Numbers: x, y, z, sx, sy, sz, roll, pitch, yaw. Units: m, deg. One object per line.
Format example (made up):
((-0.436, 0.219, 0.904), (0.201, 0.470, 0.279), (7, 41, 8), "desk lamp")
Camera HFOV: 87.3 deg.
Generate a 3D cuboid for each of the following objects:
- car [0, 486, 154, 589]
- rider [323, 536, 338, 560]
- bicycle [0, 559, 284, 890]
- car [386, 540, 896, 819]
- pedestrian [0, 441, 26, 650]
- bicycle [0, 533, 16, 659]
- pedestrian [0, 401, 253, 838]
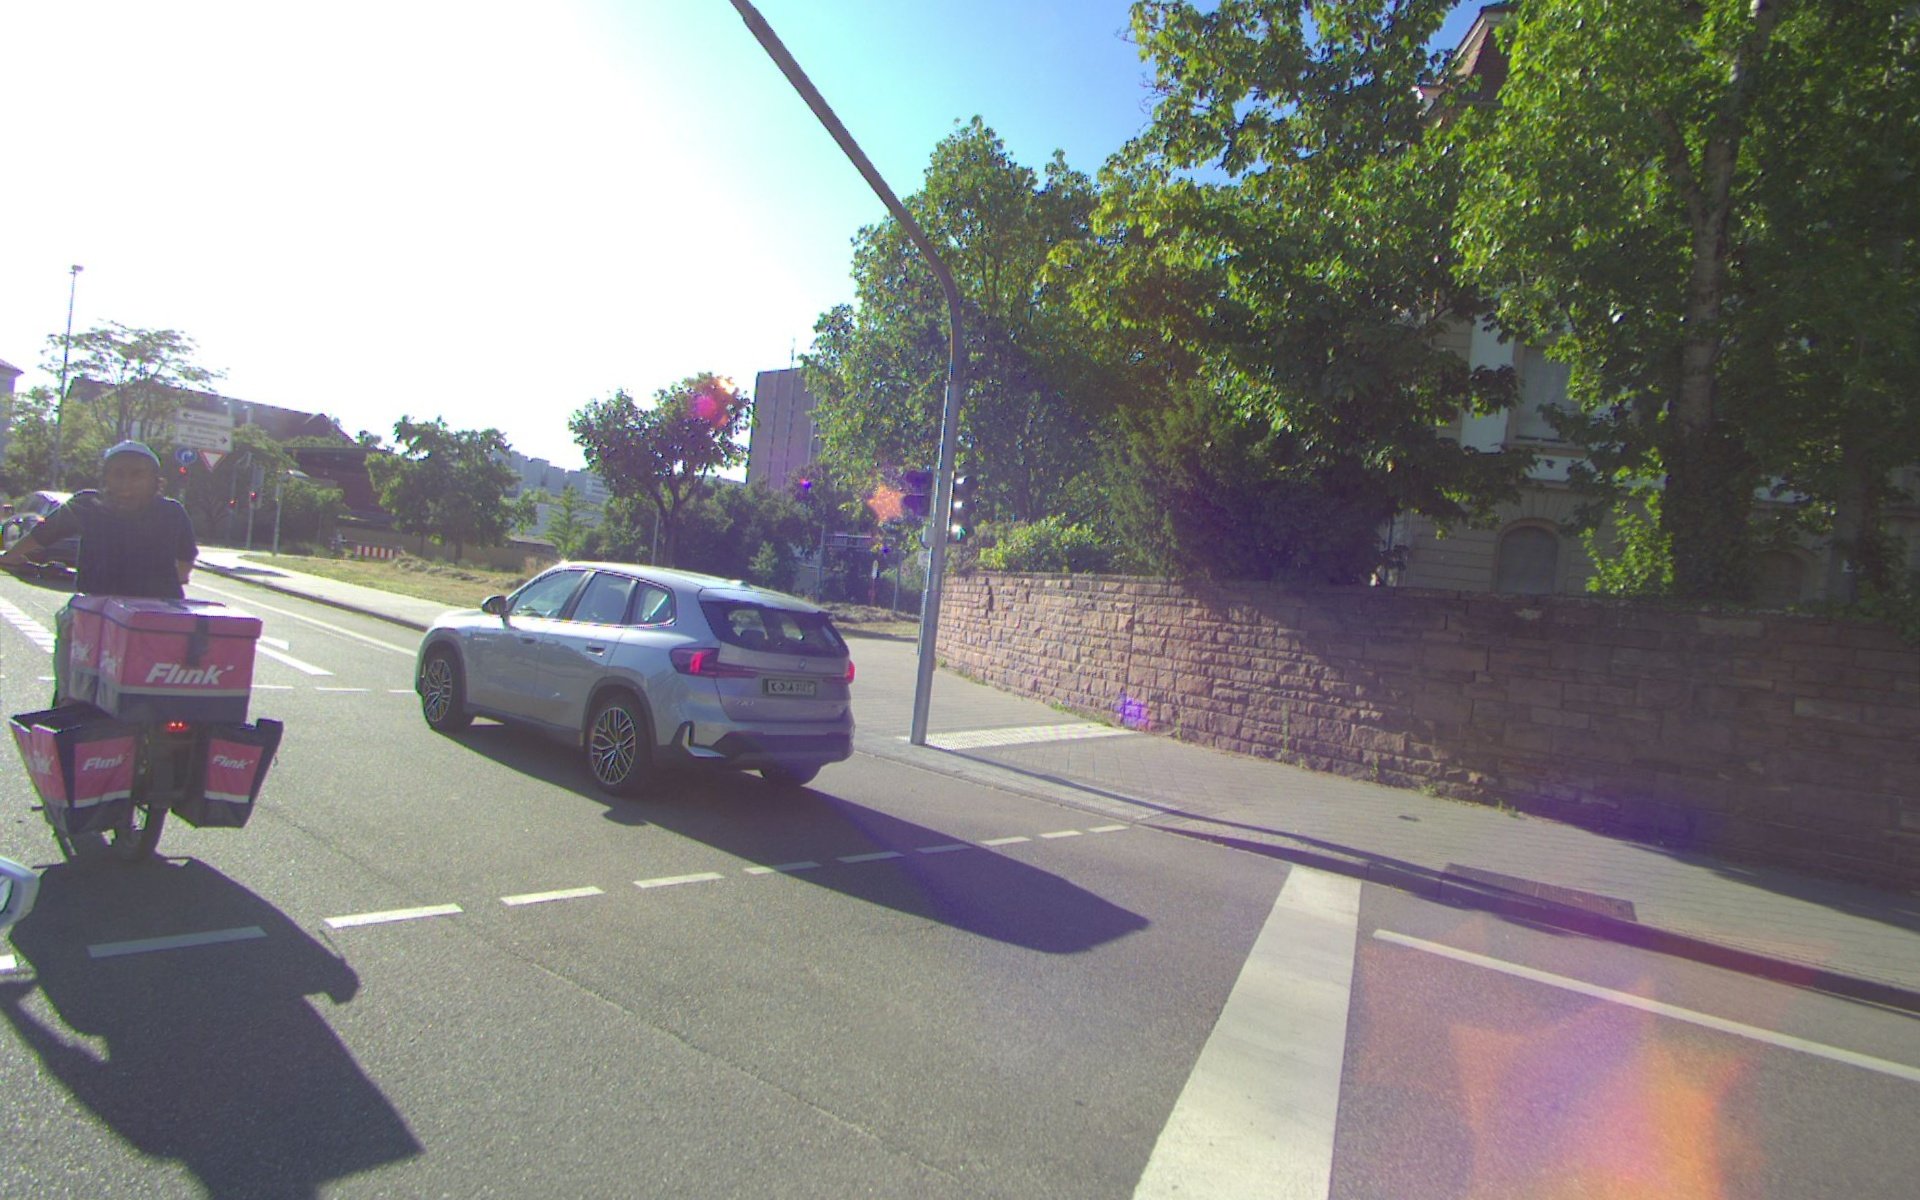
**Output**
((-18.470, -1.317, 20.825), (4.306, 1.709, 1.831), (5, -2, 40), "car")
((-44.569, -3.680, 71.224), (0.748, 1.617, 0.584), (7, -1, -37), "rider")
((-4.011, 0.475, 4.825), (2.339, 1.185, 0.554), (5, -2, 40), "bicycle")
((-2.800, 0.519, 8.382), (4.264, 1.612, 1.788), (6, -2, 37), "car")
((-9.114, -0.531, 9.130), (0.860, 1.890, 0.658), (6, -1, 39), "pedestrian")
((-9.225, -0.084, 9.180), (1.922, 1.164, 0.563), (5, -2, 40), "bicycle")
((-4.210, 0.094, 4.919), (0.942, 1.890, 0.806), (6, -1, 37), "pedestrian")
